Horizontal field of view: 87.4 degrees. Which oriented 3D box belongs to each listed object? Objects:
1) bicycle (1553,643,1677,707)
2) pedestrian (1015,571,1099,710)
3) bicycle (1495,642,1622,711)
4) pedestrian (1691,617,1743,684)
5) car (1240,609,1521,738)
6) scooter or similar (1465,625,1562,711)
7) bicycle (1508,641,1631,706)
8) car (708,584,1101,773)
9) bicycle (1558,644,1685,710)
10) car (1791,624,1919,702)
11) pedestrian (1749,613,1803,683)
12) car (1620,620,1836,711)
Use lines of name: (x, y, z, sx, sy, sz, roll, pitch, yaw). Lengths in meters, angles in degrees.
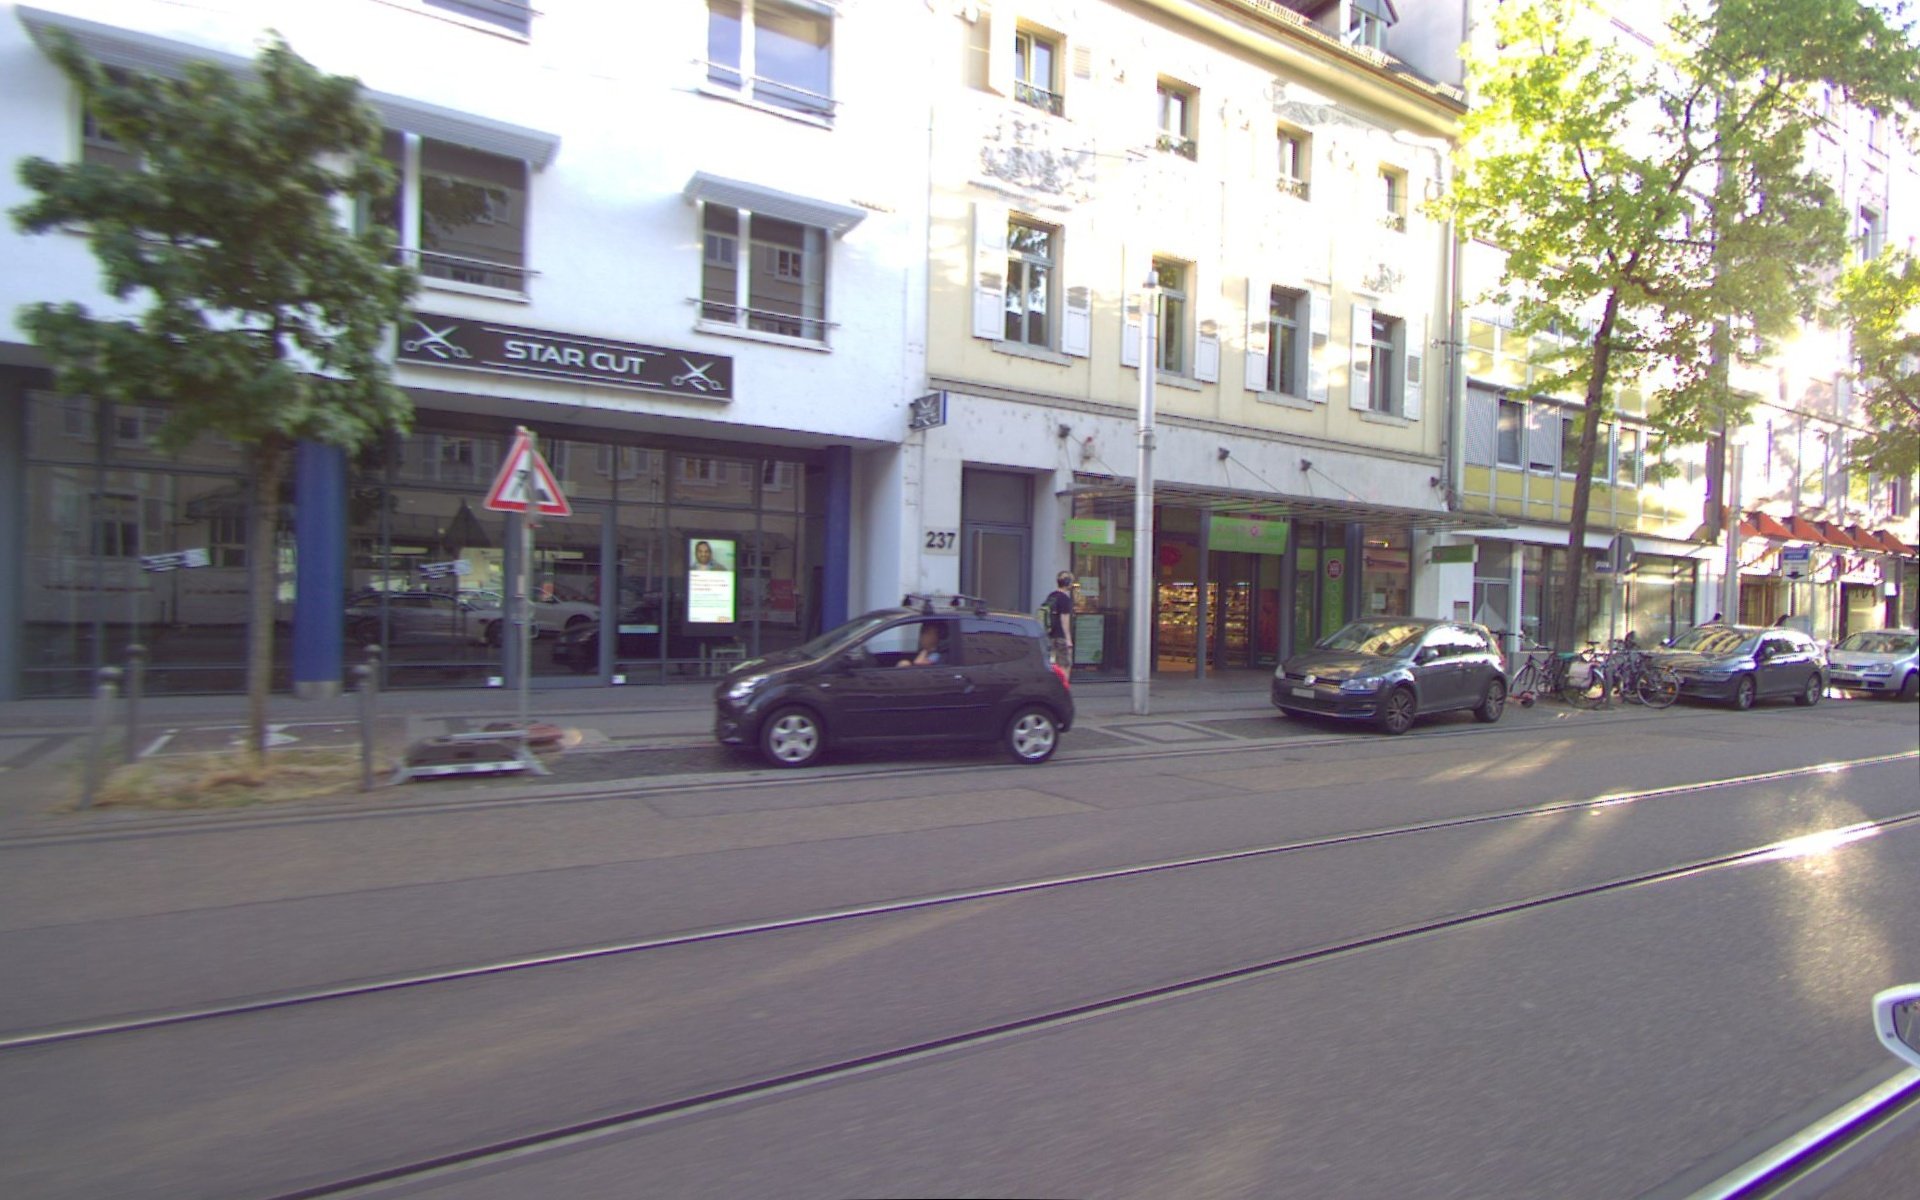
bicycle: (11.785, 1.325, 18.154, 0.326, 1.015, 1.963, 1, 0, -27)
pedestrian: (1.341, 0.552, 13.986, 0.868, 1.850, 0.656, 1, 3, -30)
bicycle: (10.080, 1.267, 16.994, 0.326, 1.015, 1.963, 1, 0, -27)
pedestrian: (19.916, 1.314, 26.434, 0.903, 1.716, 0.785, 1, 0, -31)
car: (6.090, 0.959, 14.369, 4.203, 1.510, 1.779, 1, 1, -37)
scooter or similar: (9.208, 1.108, 16.750, 0.370, 1.288, 1.414, 1, 2, -25)
bicycle: (10.904, 1.289, 18.052, 0.414, 1.015, 1.964, 1, 0, -25)
car: (-0.617, 0.720, 10.109, 3.647, 1.638, 1.630, 1, 2, -16)
bicycle: (11.604, 1.320, 17.697, 0.326, 1.015, 1.963, 1, 0, -27)
car: (20.410, 1.362, 22.070, 4.119, 1.517, 1.761, 2, 0, -26)
pedestrian: (20.614, 1.190, 25.373, 0.732, 1.716, 0.839, 1, 0, -31)
car: (14.728, 1.199, 19.205, 4.434, 1.480, 1.703, 1, 1, -31)
